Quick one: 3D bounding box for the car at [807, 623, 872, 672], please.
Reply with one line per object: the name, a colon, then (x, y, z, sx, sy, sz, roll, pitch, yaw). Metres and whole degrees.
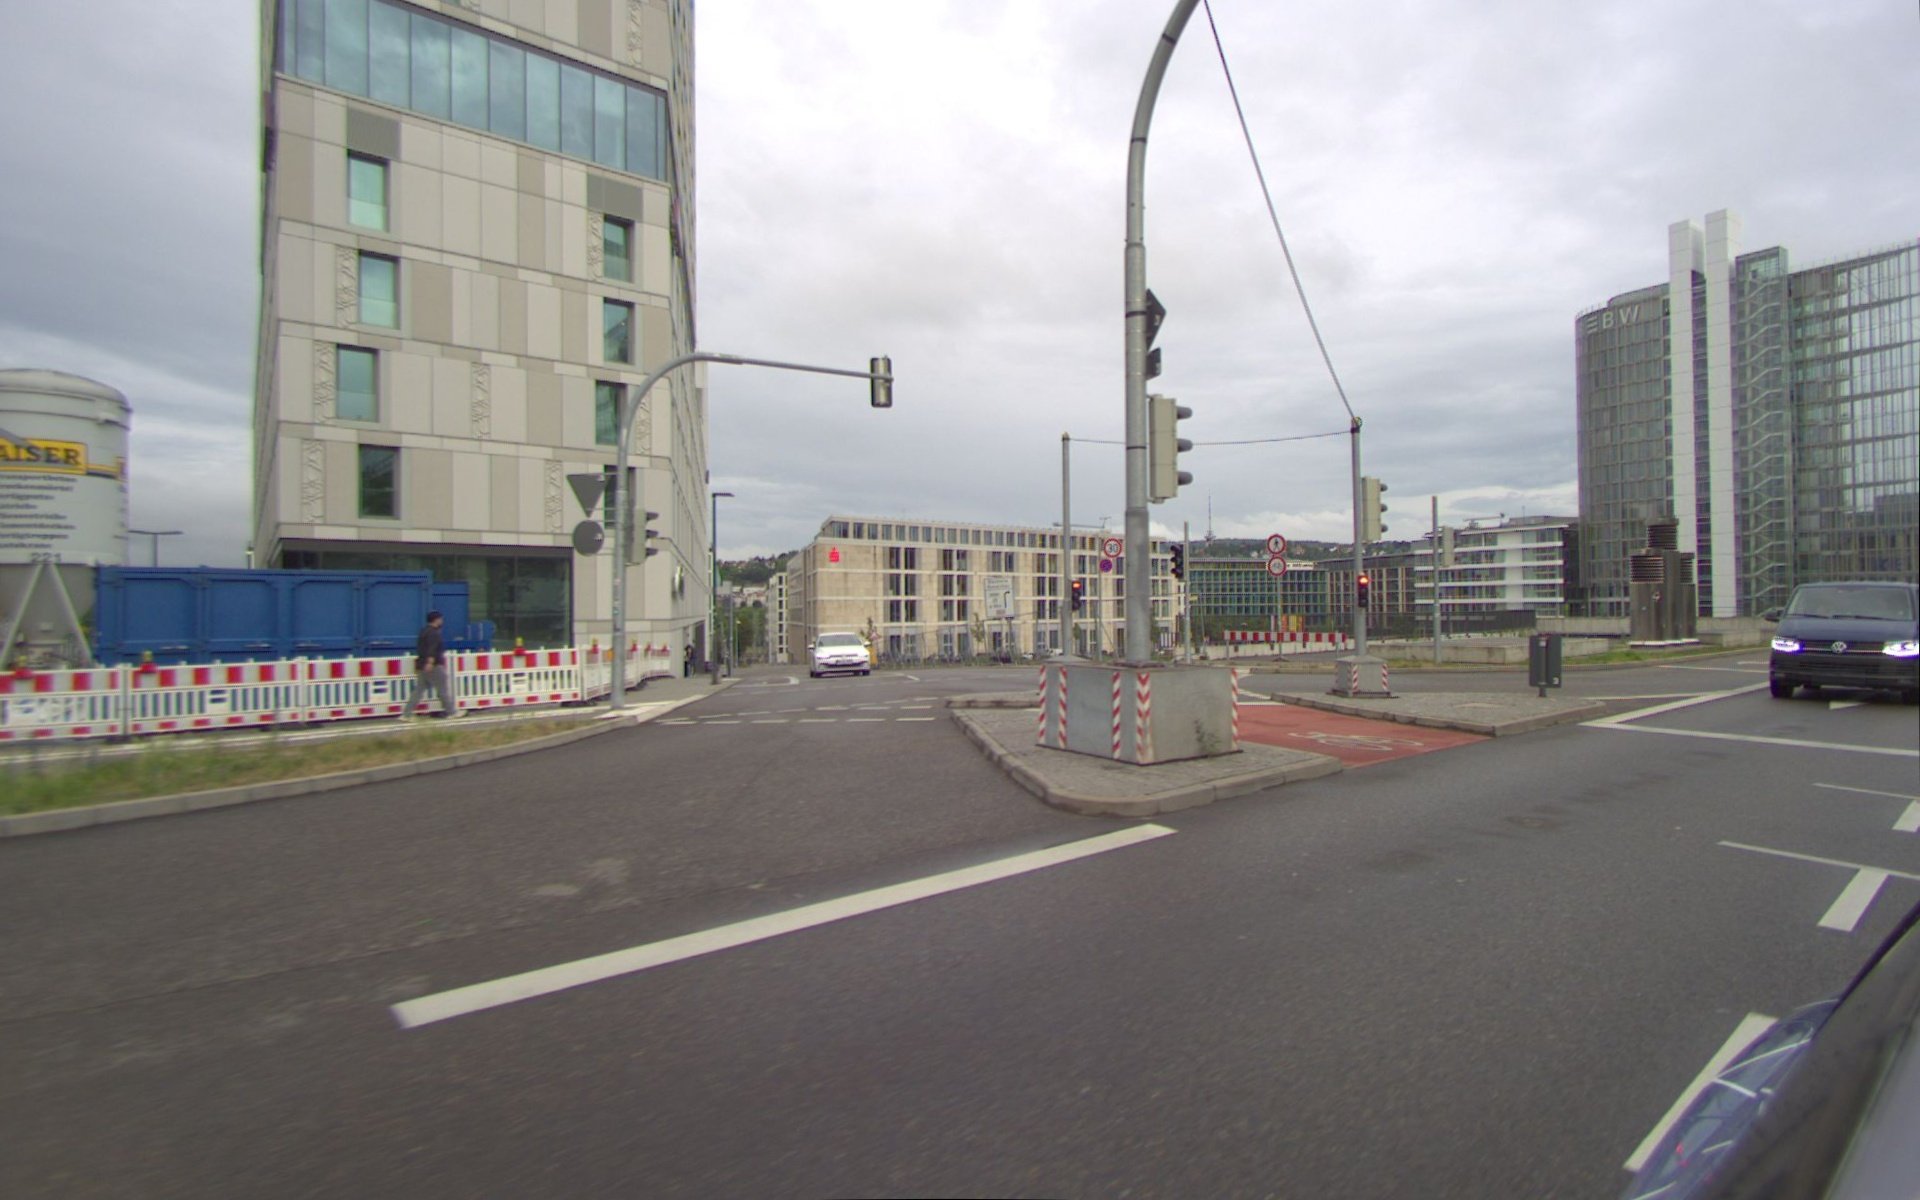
car: (-3.964, 1.512, 32.763, 1.707, 1.452, 4.006, -1, -2, -12)

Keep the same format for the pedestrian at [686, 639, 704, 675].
pedestrian: (-13.091, 2.807, 49.986, 0.783, 1.723, 0.802, -1, 0, -20)

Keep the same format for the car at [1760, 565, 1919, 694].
car: (15.552, 0.443, 17.283, 4.952, 1.906, 2.037, 1, 0, -40)

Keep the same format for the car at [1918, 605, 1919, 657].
car: (27.421, 0.843, 27.462, 4.082, 1.393, 1.726, 1, -1, -41)

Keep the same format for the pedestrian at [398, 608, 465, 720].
pedestrian: (-8.360, 0.992, 16.013, 0.809, 1.693, 0.622, -1, 0, -41)
